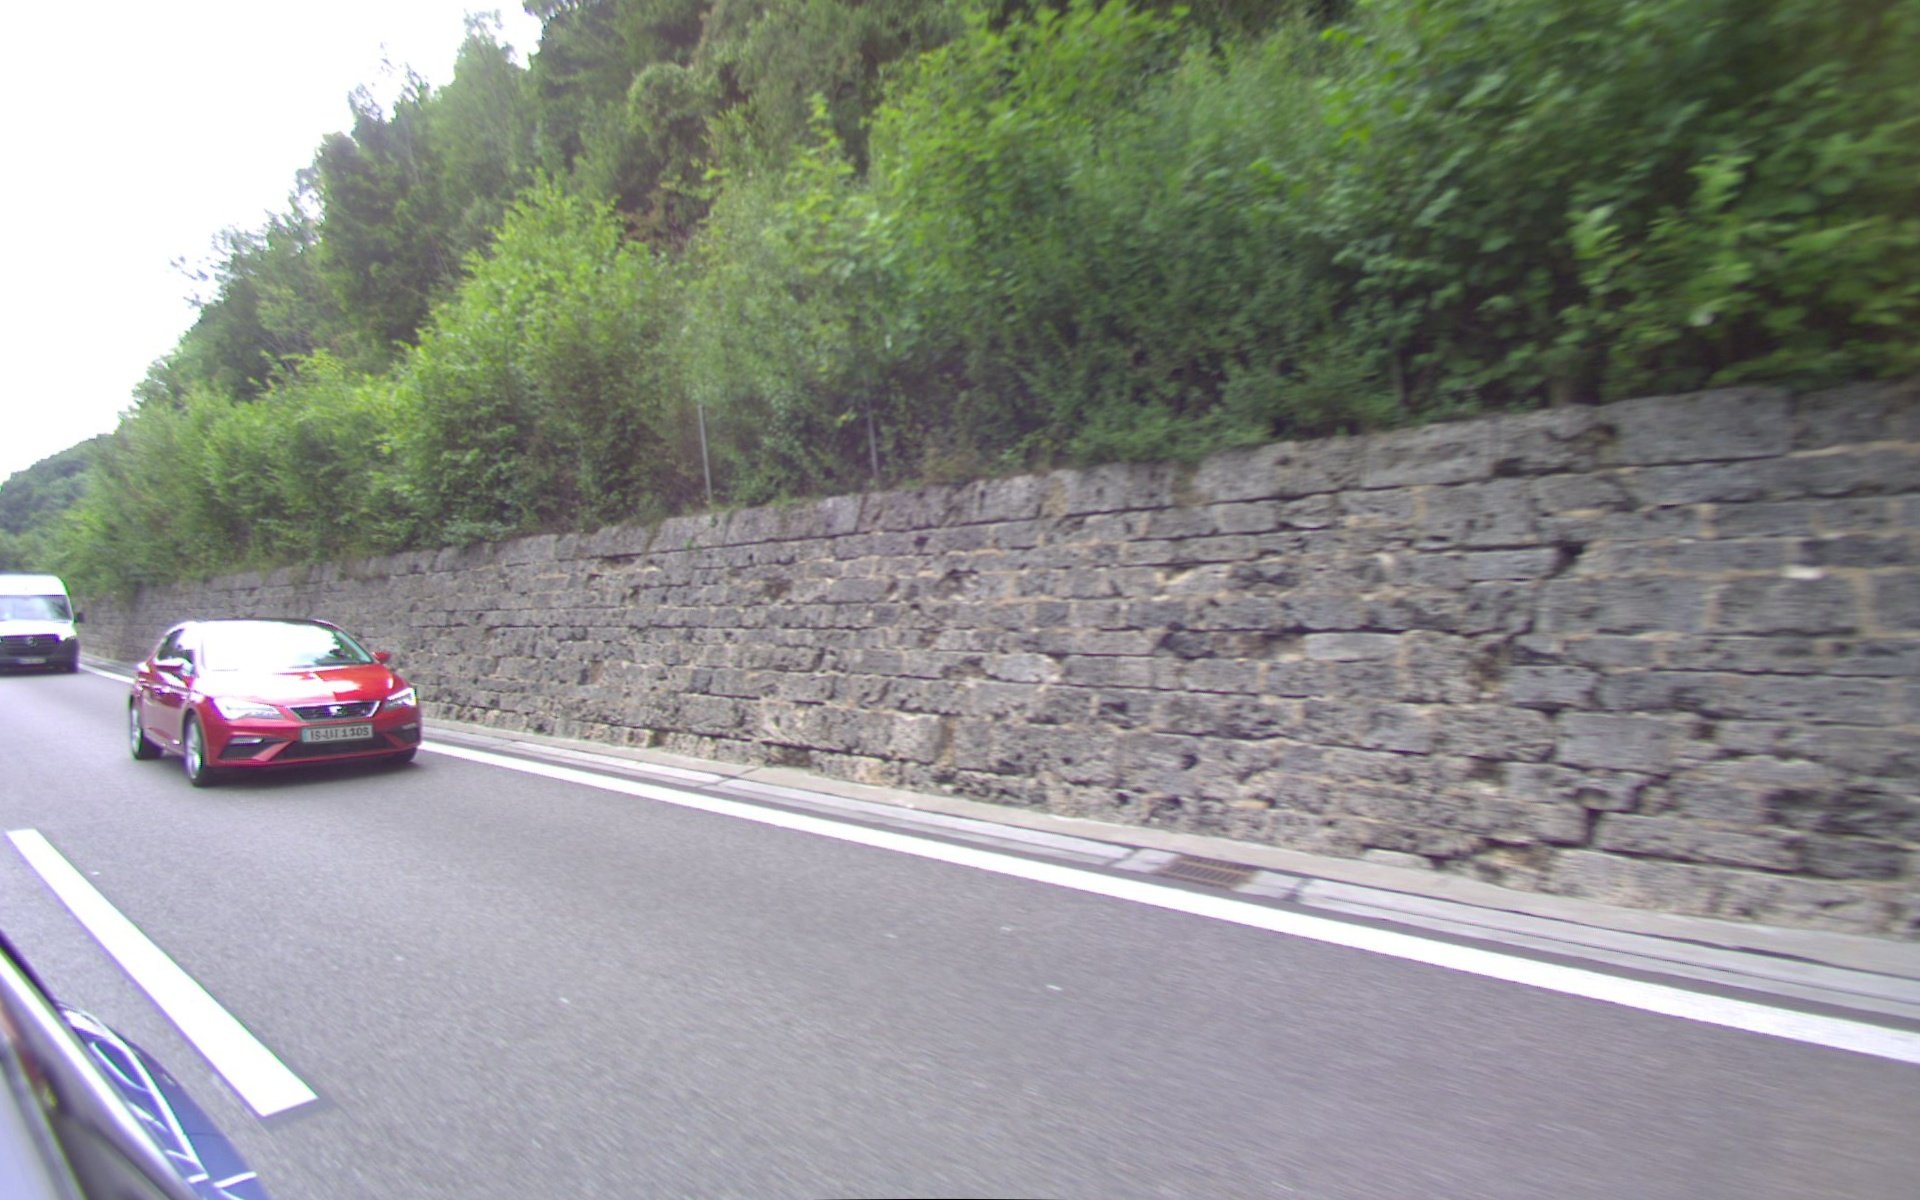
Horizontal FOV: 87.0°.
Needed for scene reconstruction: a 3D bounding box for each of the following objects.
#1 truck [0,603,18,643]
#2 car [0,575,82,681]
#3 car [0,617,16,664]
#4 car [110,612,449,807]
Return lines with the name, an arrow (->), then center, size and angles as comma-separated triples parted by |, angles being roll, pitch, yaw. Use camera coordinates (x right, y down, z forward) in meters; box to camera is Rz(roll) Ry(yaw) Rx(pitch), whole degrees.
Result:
truck -> -57.259, 1.383, 59.819 | 1.969, 2.297, 6.595 | -2, 1, -41
car -> -25.318, 0.718, 27.338 | 2.003, 2.605, 6.278 | -1, 0, -45
car -> -43.636, 1.811, 45.173 | 1.969, 1.967, 6.155 | -3, 1, -42
car -> -6.832, 0.879, 9.952 | 4.410, 1.471, 1.747 | -1, 0, 42
